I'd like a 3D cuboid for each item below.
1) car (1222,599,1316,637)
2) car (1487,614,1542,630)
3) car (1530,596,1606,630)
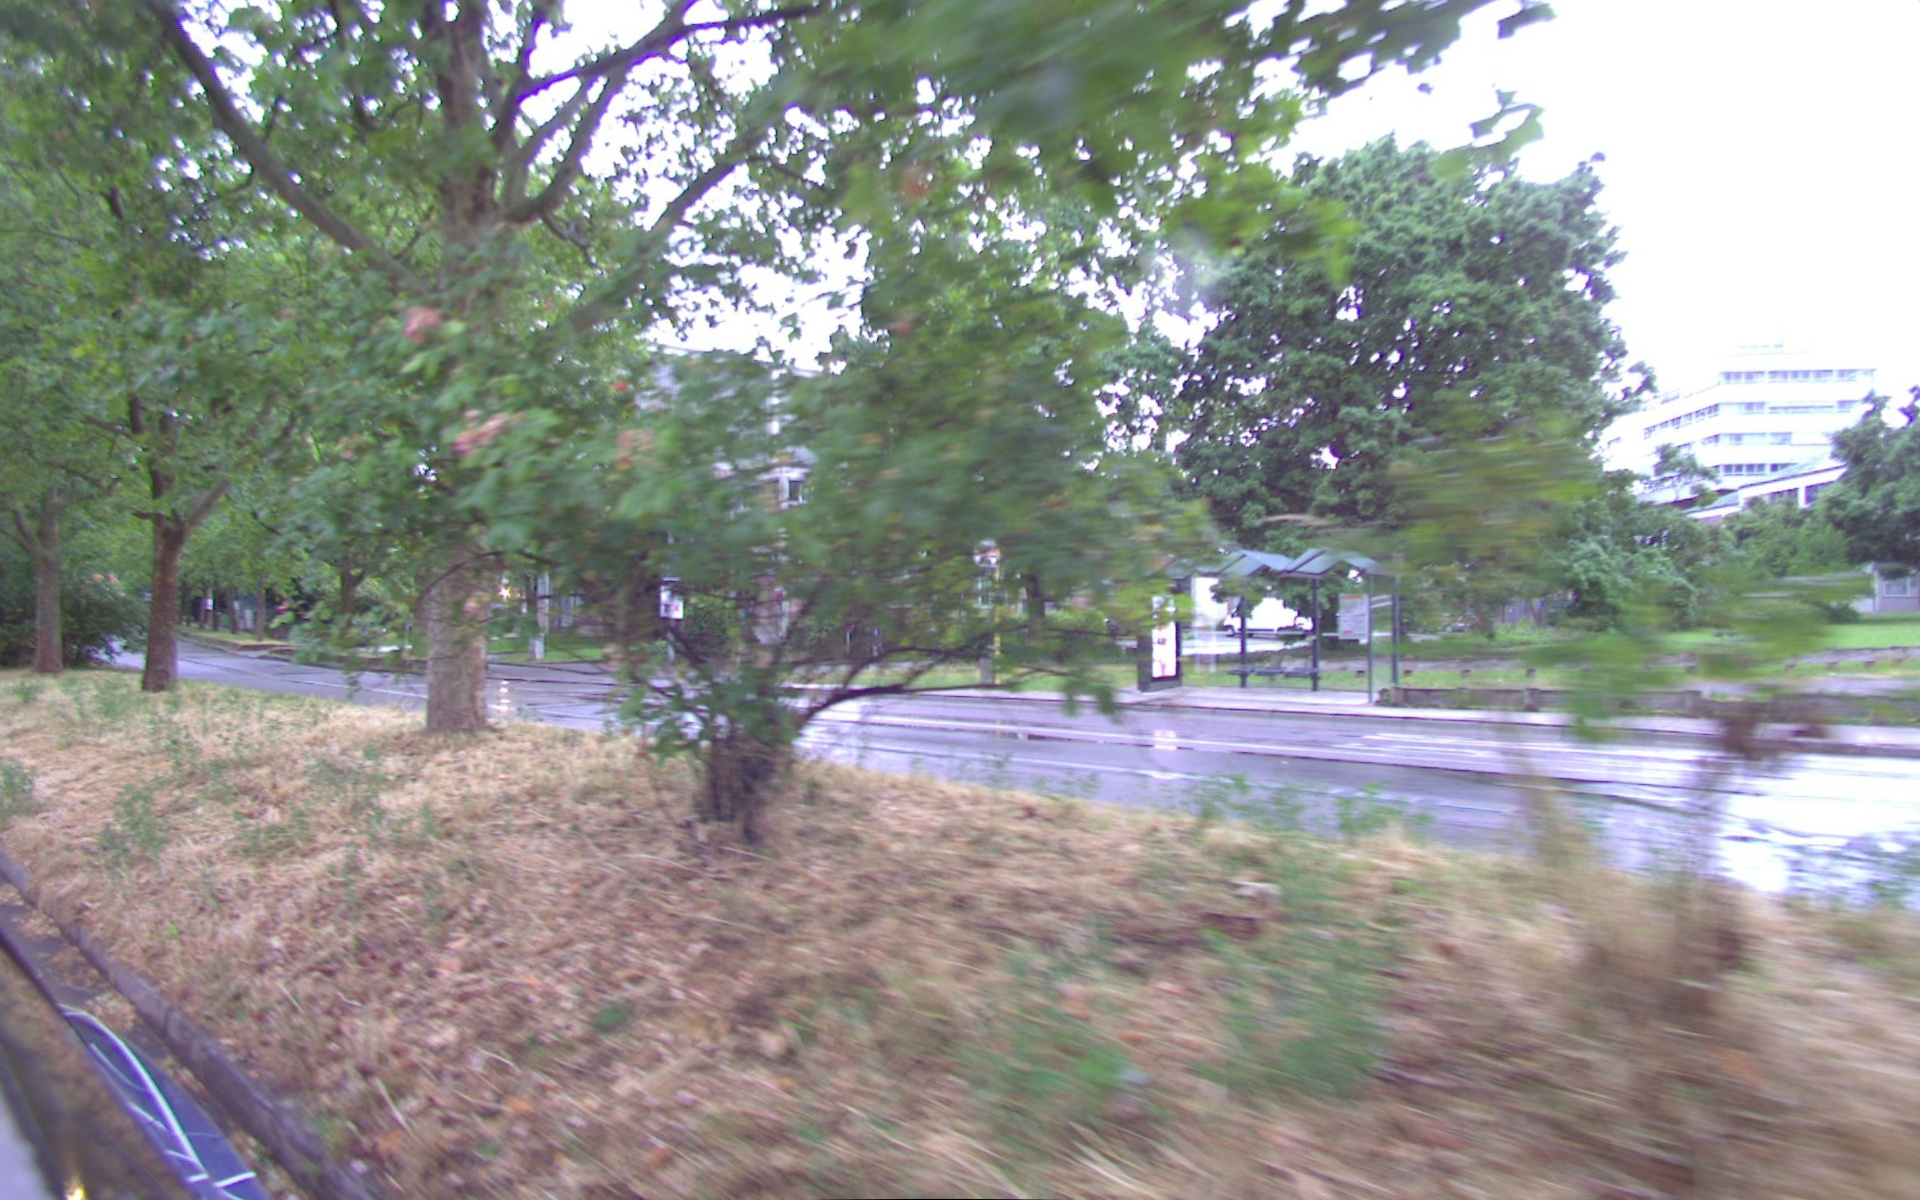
[{"bbox_3d":[19.023,1.055,62.491,2.080,2.229,5.482,-1,1,-33],"label":"car"},{"bbox_3d":[44.453,1.758,81.151,1.566,1.151,3.564,-1,1,-37],"label":"car"},{"bbox_3d":[53.993,1.087,89.814,6.359,2.838,3.607,-1,1,-36],"label":"car"}]
